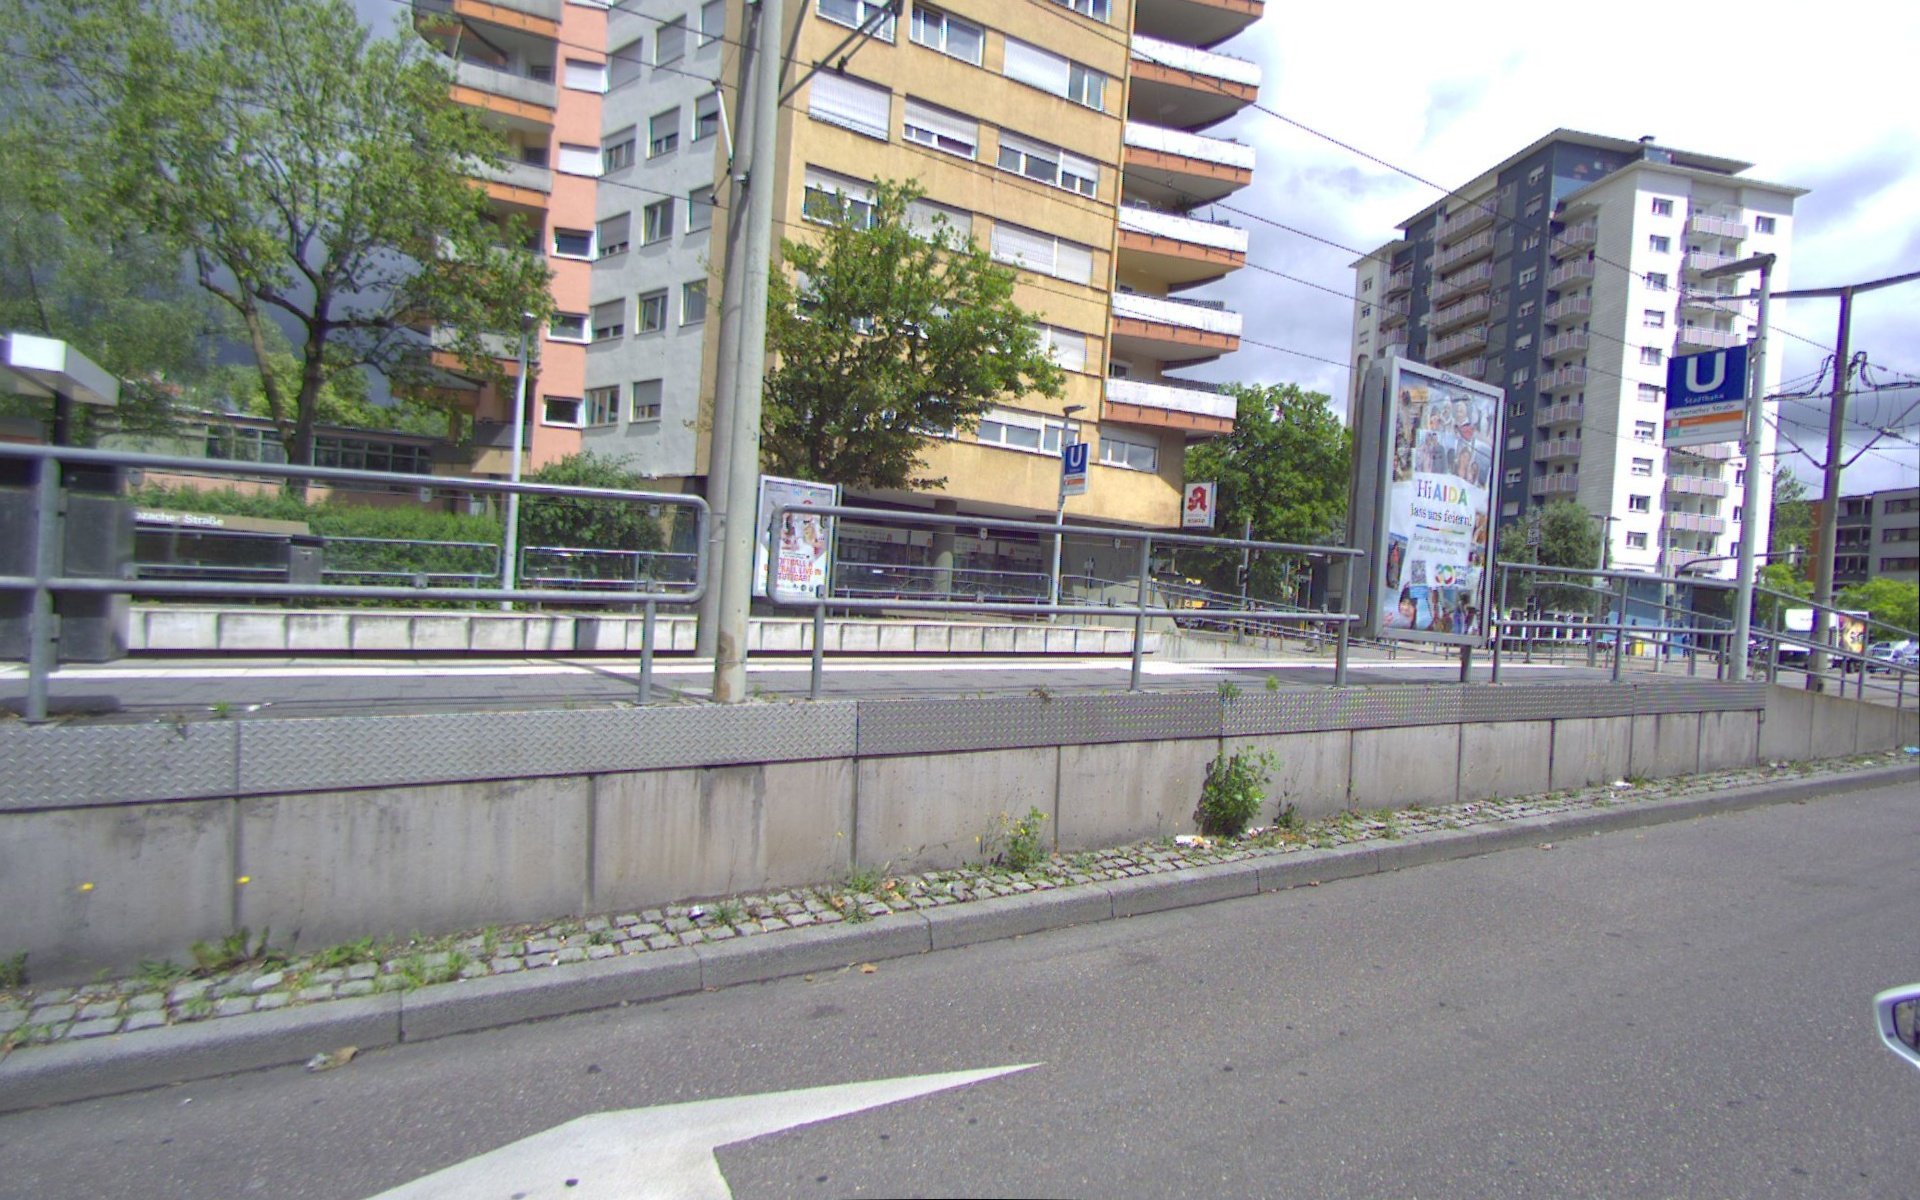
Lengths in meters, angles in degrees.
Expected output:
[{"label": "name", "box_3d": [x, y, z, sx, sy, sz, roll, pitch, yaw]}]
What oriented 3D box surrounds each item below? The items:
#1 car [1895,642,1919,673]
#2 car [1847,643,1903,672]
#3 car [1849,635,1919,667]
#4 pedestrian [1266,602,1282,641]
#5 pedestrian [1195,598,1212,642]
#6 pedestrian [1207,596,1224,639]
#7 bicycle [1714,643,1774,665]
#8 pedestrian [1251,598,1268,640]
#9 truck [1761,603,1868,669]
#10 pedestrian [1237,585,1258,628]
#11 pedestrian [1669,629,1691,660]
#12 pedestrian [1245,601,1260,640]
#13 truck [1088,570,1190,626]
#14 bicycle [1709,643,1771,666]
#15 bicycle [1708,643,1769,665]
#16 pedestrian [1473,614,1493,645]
[{"label": "car", "box_3d": [58.044, 3.491, 60.496, 3.732, 1.780, 1.583, 2, 0, -31]}, {"label": "car", "box_3d": [51.711, 3.234, 56.739, 3.733, 1.480, 1.399, 2, 0, -32]}, {"label": "car", "box_3d": [63.963, 3.504, 69.086, 3.846, 2.001, 1.657, 2, 0, 18]}, {"label": "pedestrian", "box_3d": [16.313, 1.118, 52.198, 0.532, 2.040, 0.559, 2, 0, 42]}, {"label": "pedestrian", "box_3d": [11.612, 0.955, 47.903, 0.558, 2.040, 0.533, 2, 0, -45]}, {"label": "pedestrian", "box_3d": [12.383, 0.859, 48.671, 0.533, 2.040, 0.558, 2, 0, 44]}, {"label": "bicycle", "box_3d": [43.423, 2.984, 55.680, 2.521, 1.022, 0.754, 4, 0, 33]}, {"label": "pedestrian", "box_3d": [15.083, 0.955, 50.605, 0.594, 2.040, 0.558, 2, 0, 42]}, {"label": "truck", "box_3d": [43.750, 1.851, 51.379, 7.244, 3.159, 2.267, 2, 0, -34]}, {"label": "pedestrian", "box_3d": [12.351, 0.270, 43.109, 0.649, 1.799, 0.658, 2, 0, -1]}, {"label": "pedestrian", "box_3d": [48.457, 2.998, 67.615, 0.832, 2.040, 0.860, 2, 0, -12]}, {"label": "pedestrian", "box_3d": [15.756, 1.110, 54.083, 0.557, 2.040, 0.534, 2, 0, -41]}, {"label": "truck", "box_3d": [7.991, -0.108, 45.241, 2.323, 2.320, 4.260, 2, 0, -29]}, {"label": "bicycle", "box_3d": [42.057, 2.936, 54.221, 2.521, 1.022, 0.754, 4, 0, 33]}, {"label": "bicycle", "box_3d": [42.564, 2.955, 54.987, 2.521, 1.022, 0.754, 4, 0, 33]}, {"label": "pedestrian", "box_3d": [35.979, 2.029, 69.106, 0.831, 2.040, 0.861, 2, 0, -2]}]
